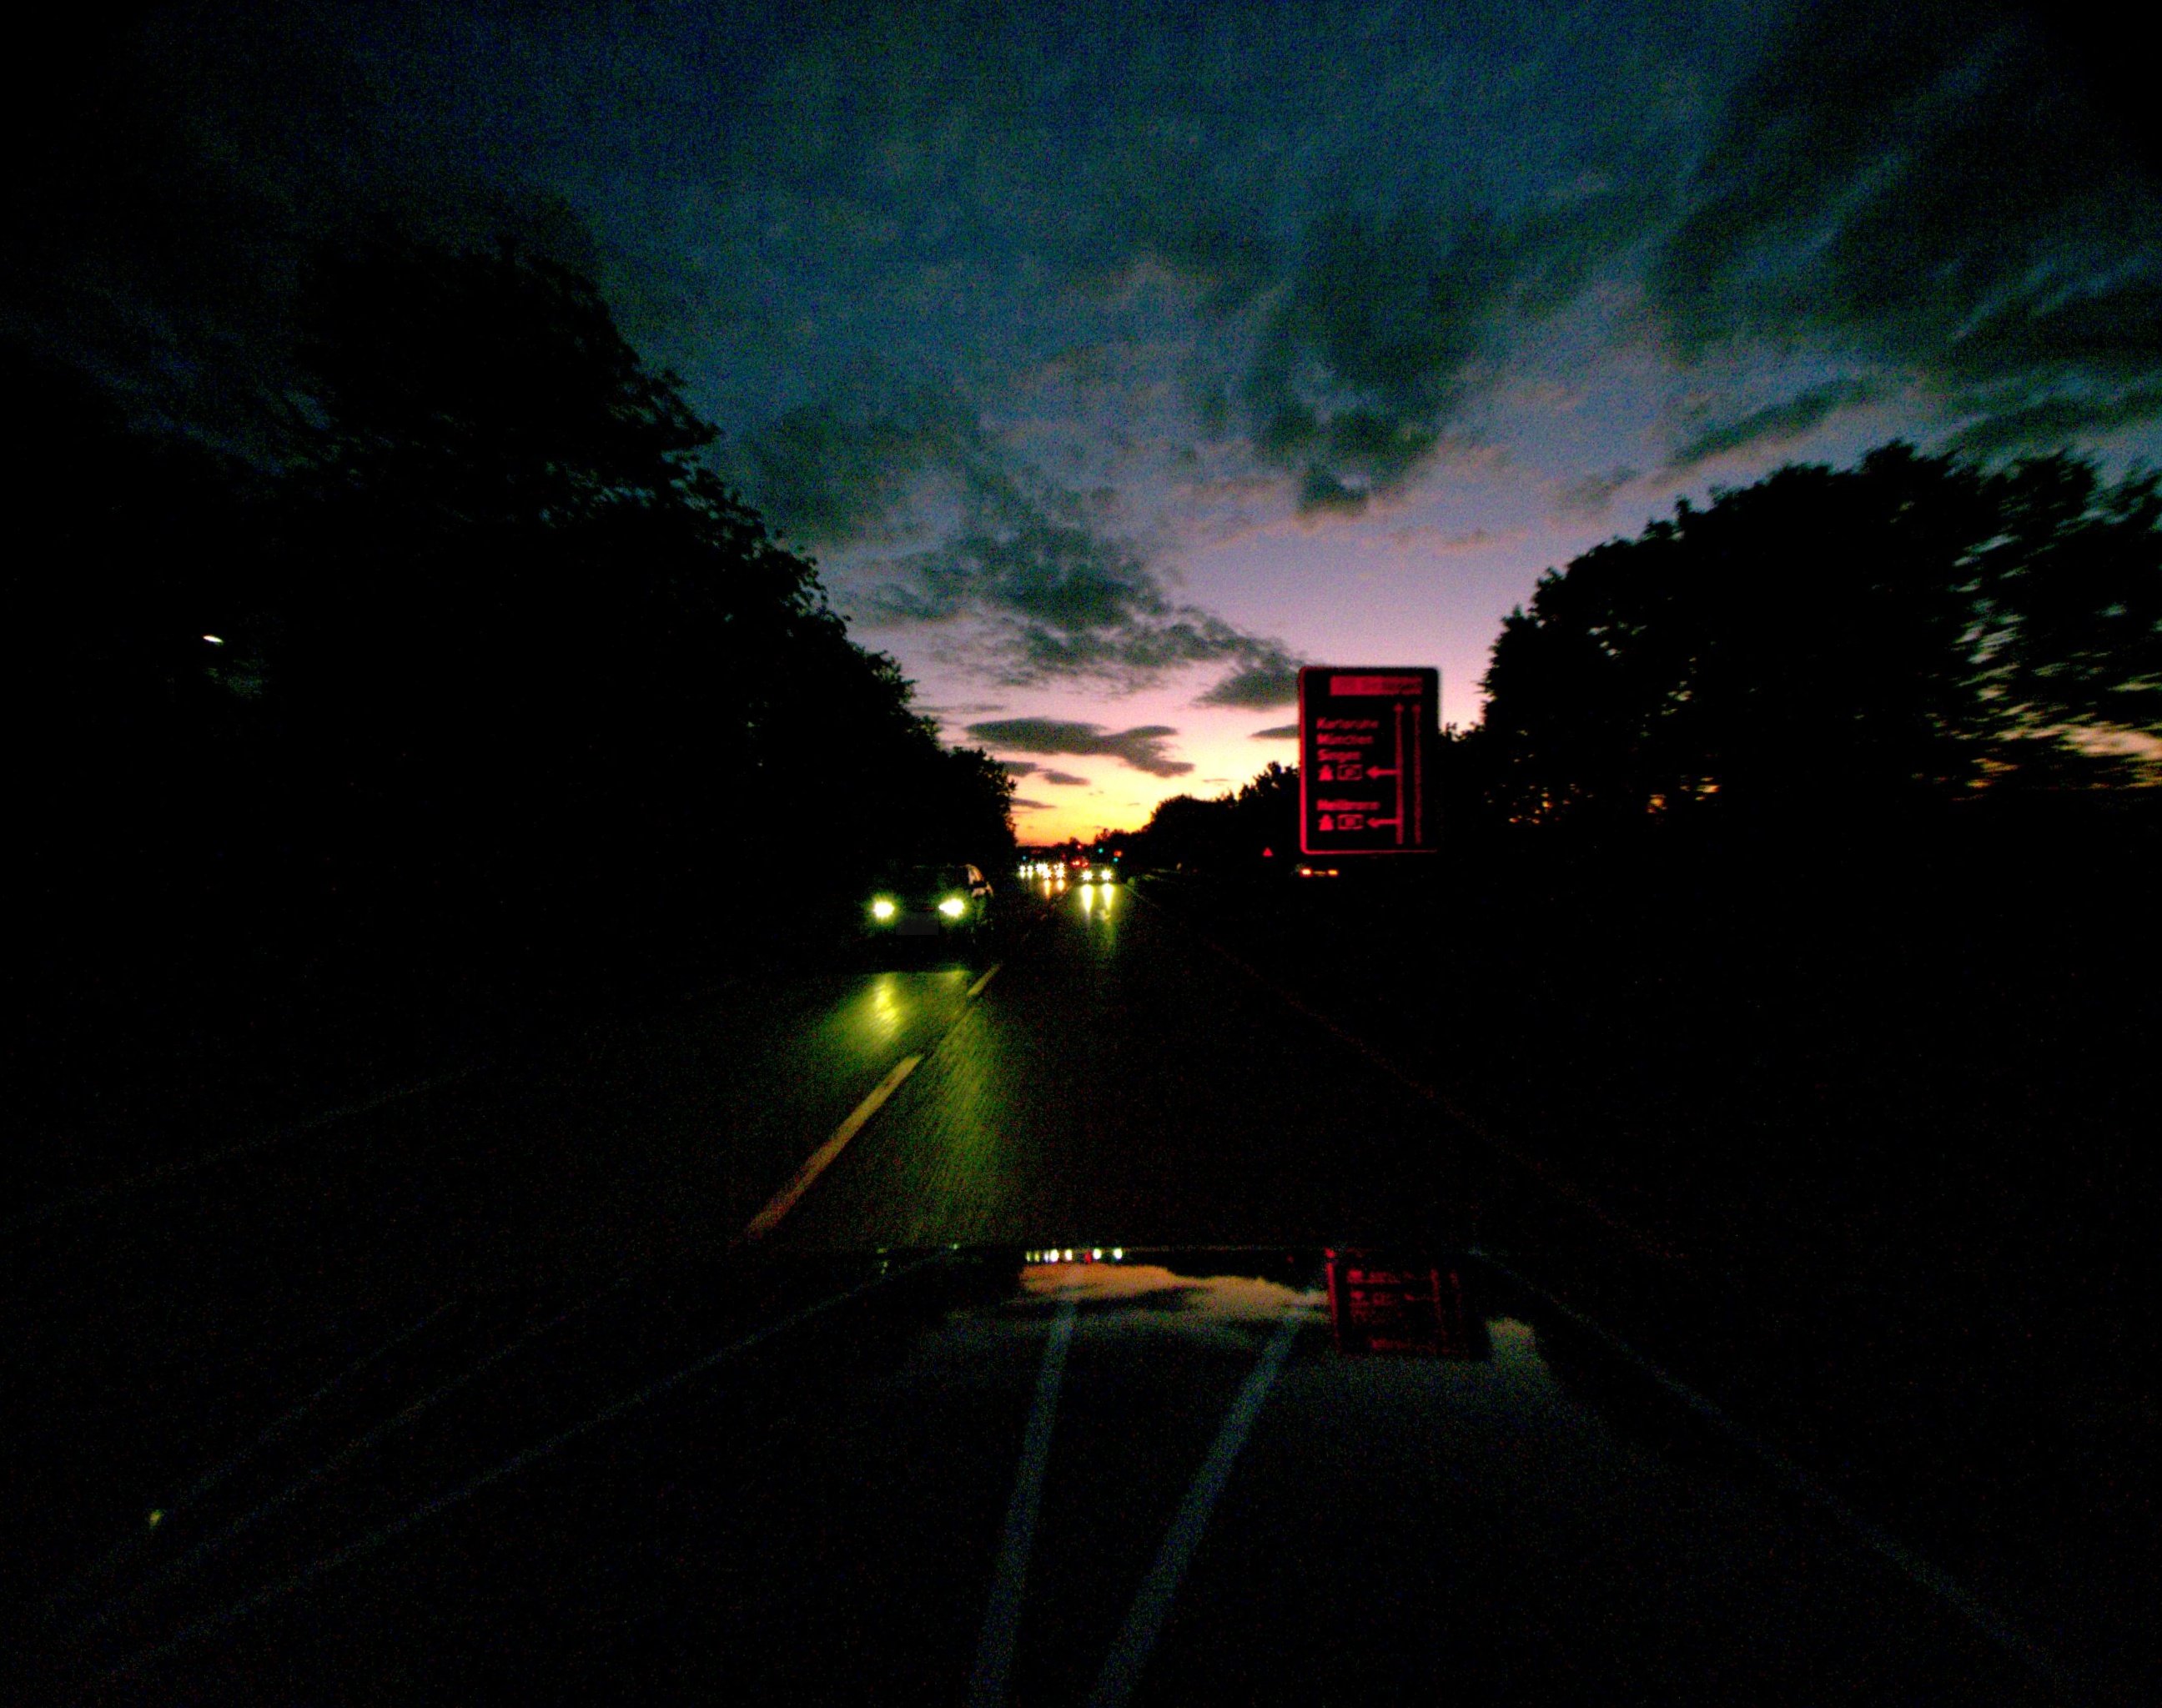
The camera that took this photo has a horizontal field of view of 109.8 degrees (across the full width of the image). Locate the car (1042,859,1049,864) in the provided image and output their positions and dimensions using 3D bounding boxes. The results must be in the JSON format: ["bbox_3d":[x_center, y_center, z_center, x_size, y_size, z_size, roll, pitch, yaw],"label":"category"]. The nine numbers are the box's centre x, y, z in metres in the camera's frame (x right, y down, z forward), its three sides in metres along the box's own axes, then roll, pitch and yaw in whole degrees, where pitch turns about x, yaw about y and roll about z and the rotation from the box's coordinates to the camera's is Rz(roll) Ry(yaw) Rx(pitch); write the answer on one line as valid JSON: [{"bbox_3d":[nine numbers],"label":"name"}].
[{"bbox_3d":[-9.854,2.173,212.084,1.999,1.423,4.501,0,0,-1],"label":"car"}]

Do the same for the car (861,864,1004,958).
[{"bbox_3d":[-2.923,1.064,16.067,1.998,1.600,4.712,-2,0,1],"label":"car"}]

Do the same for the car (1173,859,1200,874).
[{"bbox_3d":[10.153,1.173,73.504,1.926,1.423,4.501,0,0,-1],"label":"car"}]

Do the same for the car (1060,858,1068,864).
[{"bbox_3d":[-4.372,1.783,193.399,1.999,1.602,4.501,-2,0,-1],"label":"car"}]

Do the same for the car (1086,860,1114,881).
[{"bbox_3d":[1.393,1.209,57.116,1.901,1.472,4.514,-2,0,0],"label":"car"}]

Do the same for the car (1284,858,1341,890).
[{"bbox_3d":[13.013,1.085,43.023,1.799,1.661,4.501,-1,0,0],"label":"car"}]

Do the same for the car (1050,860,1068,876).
[{"bbox_3d":[-2.210,1.417,76.419,1.624,1.460,3.871,-2,0,1],"label":"car"}]
